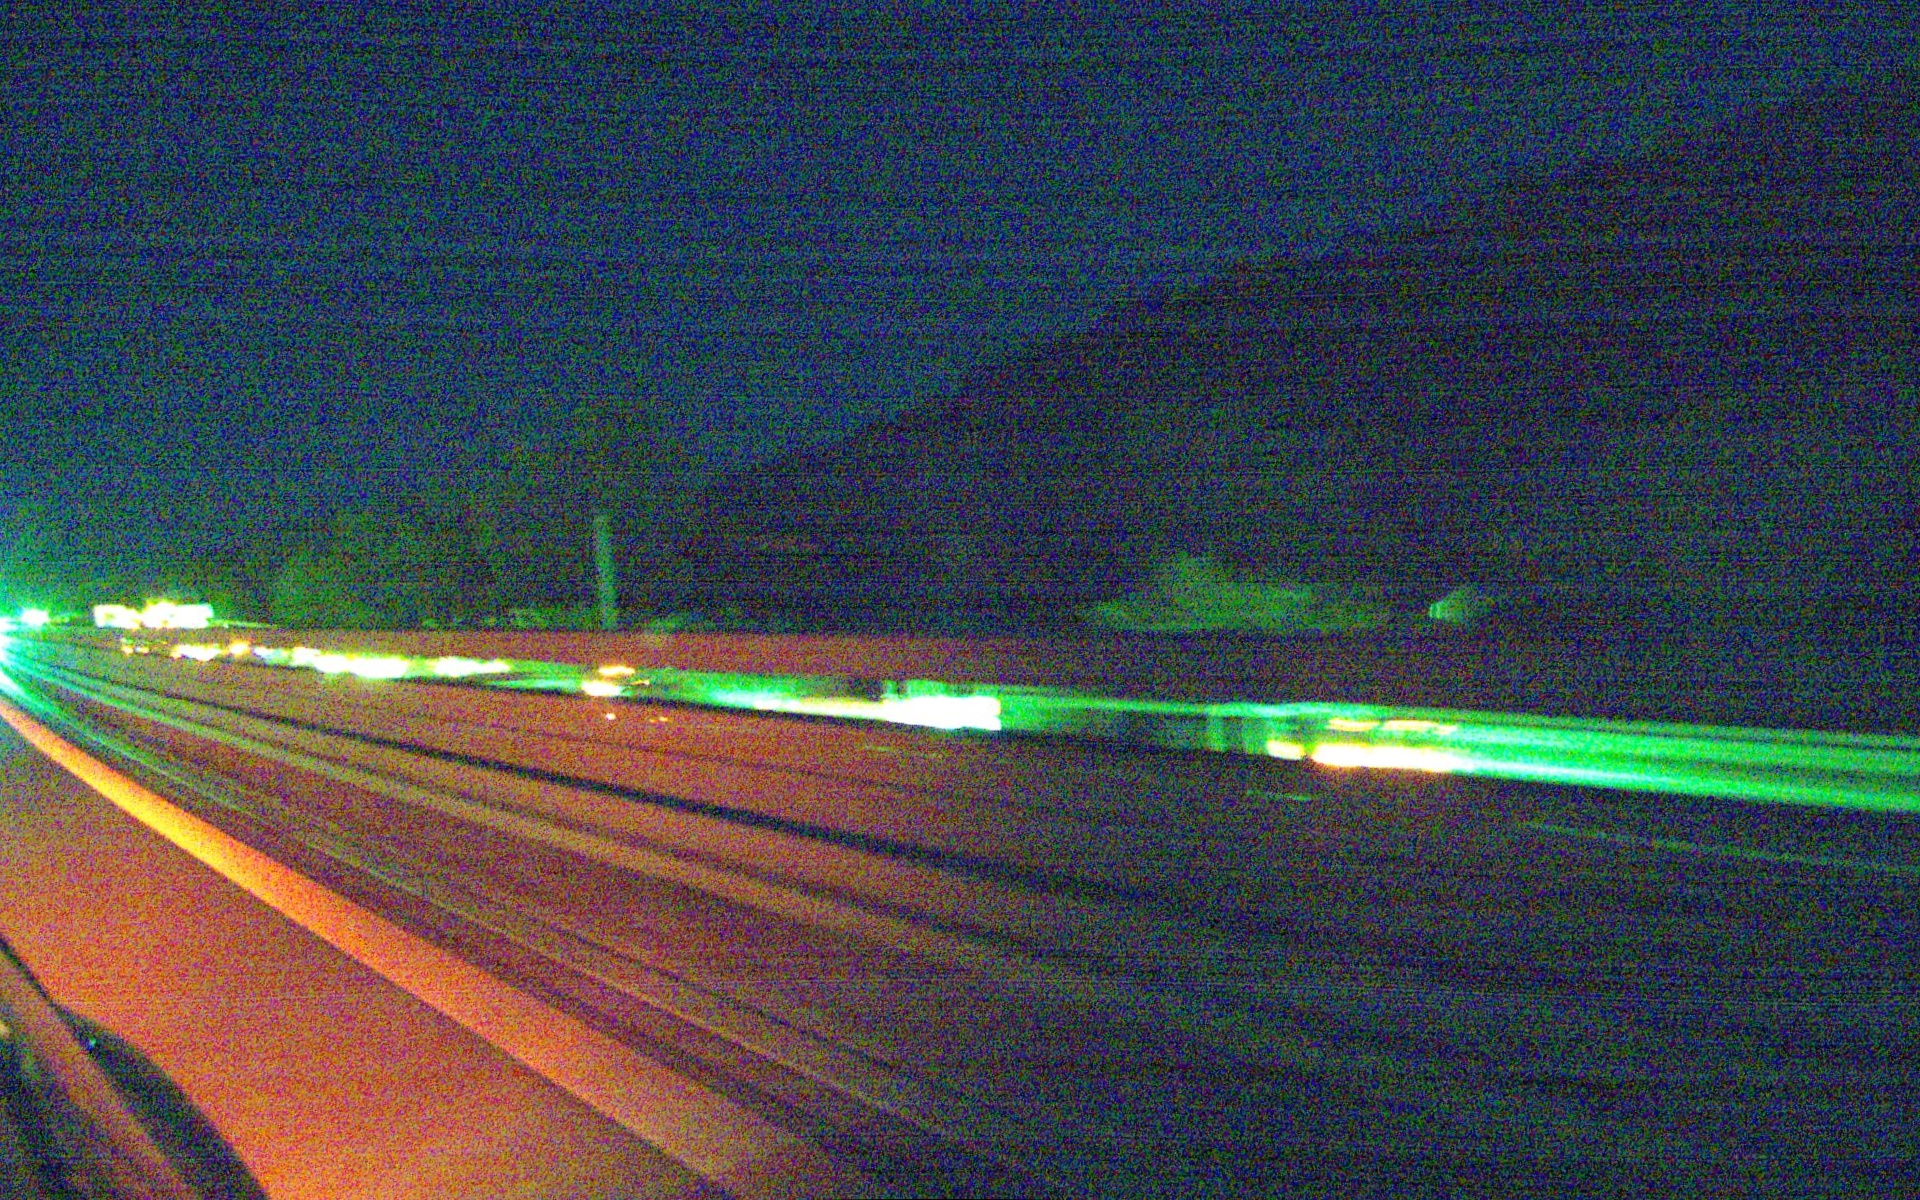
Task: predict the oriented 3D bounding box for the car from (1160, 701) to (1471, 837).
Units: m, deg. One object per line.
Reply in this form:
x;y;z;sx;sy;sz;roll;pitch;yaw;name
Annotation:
5.205;2.385;15.095;3.998;1.453;1.818;-2;-2;41;car

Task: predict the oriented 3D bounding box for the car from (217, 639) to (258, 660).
-56.406;3.828;79.026;1.881;1.464;4.714;0;-1;-45;car

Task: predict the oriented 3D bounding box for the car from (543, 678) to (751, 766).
-7.022;2.582;22.383;5.112;1.501;2.116;-2;-3;42;car

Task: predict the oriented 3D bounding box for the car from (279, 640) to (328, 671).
-39.665;3.329;61.100;1.732;1.729;4.002;0;-1;-45;car

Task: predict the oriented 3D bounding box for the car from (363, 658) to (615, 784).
-8.196;1.918;17.367;5.112;1.719;2.116;-2;-3;42;car

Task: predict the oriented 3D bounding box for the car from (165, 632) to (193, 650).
-67.197;3.505;87.112;1.697;1.312;4.009;-5;2;-37;car

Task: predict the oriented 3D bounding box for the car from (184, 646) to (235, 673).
-45.892;3.604;61.846;1.881;1.464;4.714;0;-1;-45;car

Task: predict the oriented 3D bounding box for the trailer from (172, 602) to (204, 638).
-101.824;2.515;133.361;3.108;4.347;14.841;-2;1;-38;trailer

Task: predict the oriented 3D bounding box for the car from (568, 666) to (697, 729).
-9.727;2.803;29.902;4.279;1.569;1.796;-2;-2;43;car

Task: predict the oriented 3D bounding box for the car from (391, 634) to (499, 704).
-20.163;2.589;39.482;5.697;2.460;2.005;-1;-1;44;car

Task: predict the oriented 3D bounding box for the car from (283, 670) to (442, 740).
-15.434;2.606;26.005;5.112;1.462;2.116;-2;-3;42;car

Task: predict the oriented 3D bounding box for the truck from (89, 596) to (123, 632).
-93.076;1.478;110.395;2.571;3.771;6.767;-2;1;-39;truck

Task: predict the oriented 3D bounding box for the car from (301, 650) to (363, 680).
-32.897;3.375;52.959;4.001;1.469;1.802;-1;-3;44;car

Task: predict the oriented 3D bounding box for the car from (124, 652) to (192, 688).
-36.308;3.122;45.758;4.279;1.480;1.796;-2;-2;43;car

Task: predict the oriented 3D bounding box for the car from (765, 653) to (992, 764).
-1.891;2.242;22.213;5.113;2.070;2.115;-2;-3;43;car

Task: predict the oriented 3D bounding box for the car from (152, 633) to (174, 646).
-86.858;4.301;110.265;1.777;1.427;4.007;2;-3;-39;car

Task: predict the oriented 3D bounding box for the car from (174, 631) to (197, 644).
-93.987;4.518;122.822;1.969;1.502;4.410;0;-1;-40;car

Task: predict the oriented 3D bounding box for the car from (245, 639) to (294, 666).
-46.908;3.516;68.706;2.050;1.647;4.926;0;-1;-43;car

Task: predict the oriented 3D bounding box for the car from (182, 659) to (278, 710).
-24.451;2.778;33.847;4.279;1.480;1.796;-2;-2;43;car

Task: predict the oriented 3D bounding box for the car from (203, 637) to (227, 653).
-69.362;4.194;94.255;1.684;1.387;4.009;0;-1;-36;car

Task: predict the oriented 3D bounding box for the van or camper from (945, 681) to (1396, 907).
2.415;2.142;12.636;5.217;2.029;1.973;-2;-3;40;van or camper

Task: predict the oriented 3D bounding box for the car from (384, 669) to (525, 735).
-15.282;2.987;30.465;5.112;1.635;2.116;-2;-3;42;car

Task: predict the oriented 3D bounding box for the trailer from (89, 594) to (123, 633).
-88.645;1.334;105.087;2.503;3.741;10.144;-2;1;-40;trailer

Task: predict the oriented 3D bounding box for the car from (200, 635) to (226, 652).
-74.902;4.376;101.440;1.968;1.560;4.147;0;-1;-38;car

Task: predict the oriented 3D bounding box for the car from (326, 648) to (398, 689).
-27.574;3.115;46.643;1.928;1.729;4.002;2;-2;-45;car

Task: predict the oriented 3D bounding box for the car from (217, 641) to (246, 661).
-61.441;4.319;85.403;1.677;1.408;4.009;14;-10;-34;car
